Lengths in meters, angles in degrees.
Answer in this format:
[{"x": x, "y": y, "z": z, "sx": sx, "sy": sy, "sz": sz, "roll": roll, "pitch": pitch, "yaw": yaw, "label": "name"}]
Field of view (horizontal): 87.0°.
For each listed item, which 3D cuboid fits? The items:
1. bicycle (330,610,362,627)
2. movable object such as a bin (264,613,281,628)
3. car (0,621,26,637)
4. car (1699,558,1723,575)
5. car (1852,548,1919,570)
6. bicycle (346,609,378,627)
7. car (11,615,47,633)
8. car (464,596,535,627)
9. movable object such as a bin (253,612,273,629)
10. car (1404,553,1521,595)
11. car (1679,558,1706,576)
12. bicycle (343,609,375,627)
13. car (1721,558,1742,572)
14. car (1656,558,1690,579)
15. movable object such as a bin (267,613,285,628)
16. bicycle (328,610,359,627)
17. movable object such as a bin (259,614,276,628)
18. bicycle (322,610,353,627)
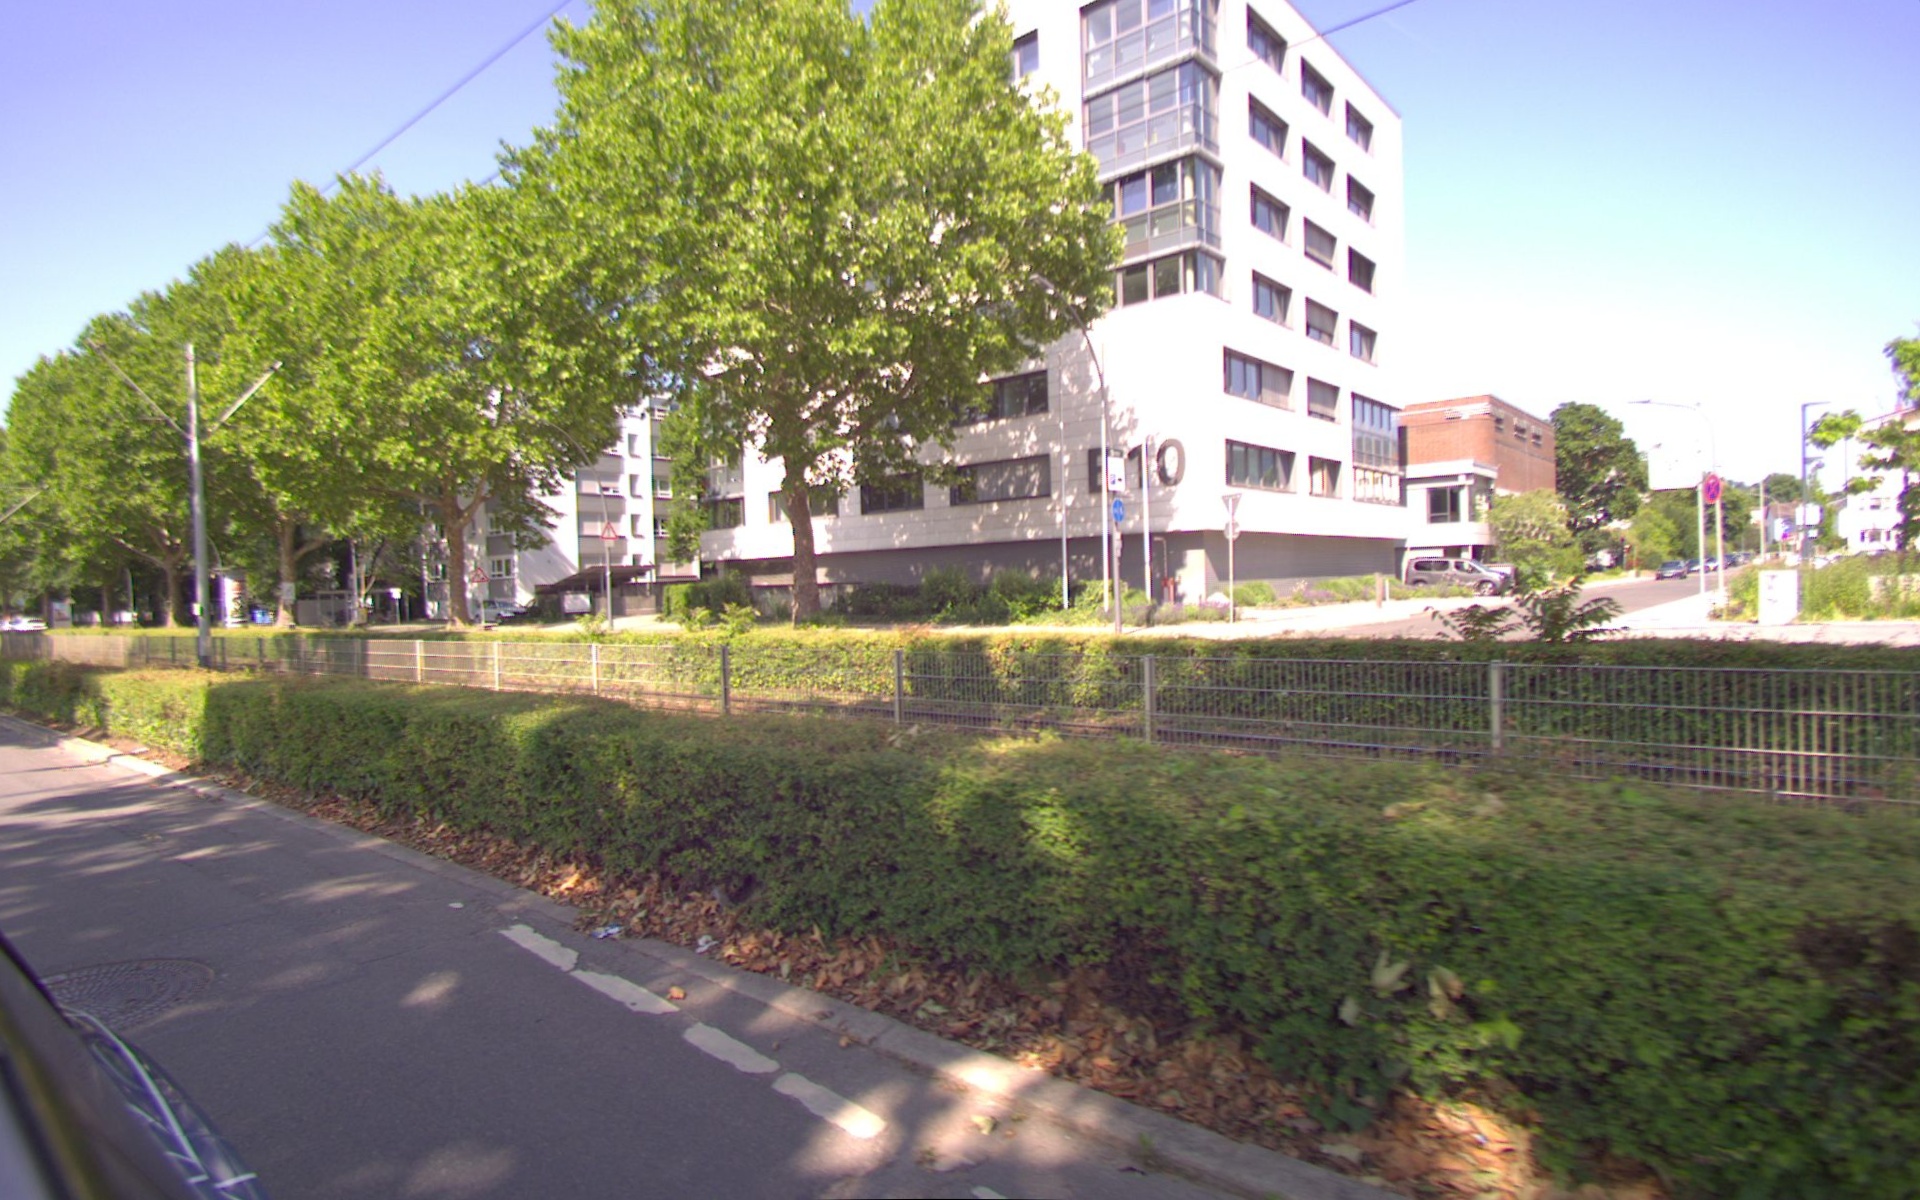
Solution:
[{"x": -41.934, "y": 1.265, "z": 69.121, "sx": 0.421, "sy": 1.111, "sz": 1.749, "roll": -2, "pitch": 1, "yaw": 38, "label": "bicycle"}, {"x": -50.671, "y": 1.533, "z": 74.550, "sx": 0.545, "sy": 1.044, "sz": 0.887, "roll": -2, "pitch": 1, "yaw": 39, "label": "movable object such as a bin"}, {"x": -93.973, "y": 2.840, "z": 100.070, "sx": 3.996, "sy": 1.464, "sz": 1.834, "roll": -2, "pitch": 1, "yaw": 39, "label": "car"}, {"x": 75.811, "y": -3.393, "z": 102.135, "sx": 1.732, "sy": 1.546, "sz": 3.804, "roll": -1, "pitch": 1, "yaw": 41, "label": "car"}, {"x": 56.708, "y": -2.513, "z": 61.980, "sx": 3.029, "sy": 1.204, "sz": 1.353, "roll": -1, "pitch": 1, "yaw": 41, "label": "car"}, {"x": -40.004, "y": 1.218, "z": 67.725, "sx": 0.421, "sy": 1.111, "sz": 1.749, "roll": -2, "pitch": 1, "yaw": 38, "label": "bicycle"}, {"x": -82.119, "y": 2.103, "z": 89.252, "sx": 3.908, "sy": 1.502, "sz": 1.797, "roll": -2, "pitch": -1, "yaw": 39, "label": "car"}, {"x": -25.245, "y": 0.653, "z": 55.402, "sx": 4.344, "sy": 1.561, "sz": 1.725, "roll": -2, "pitch": 1, "yaw": 39, "label": "car"}, {"x": -52.250, "y": 1.516, "z": 75.851, "sx": 1.098, "sy": 1.197, "sz": 0.887, "roll": -2, "pitch": 1, "yaw": 39, "label": "movable object such as a bin"}, {"x": 23.990, "y": -1.240, "z": 48.403, "sx": 4.615, "sy": 1.828, "sz": 1.973, "roll": -1, "pitch": 1, "yaw": 41, "label": "car"}, {"x": 69.319, "y": -3.116, "z": 95.723, "sx": 1.732, "sy": 1.546, "sz": 3.848, "roll": -1, "pitch": 1, "yaw": 41, "label": "car"}, {"x": -40.394, "y": 1.227, "z": 68.034, "sx": 0.421, "sy": 1.111, "sz": 1.749, "roll": -2, "pitch": 1, "yaw": 38, "label": "bicycle"}, {"x": 93.165, "y": -4.188, "z": 122.176, "sx": 1.732, "sy": 1.546, "sz": 3.804, "roll": -1, "pitch": 1, "yaw": 41, "label": "car"}, {"x": 54.685, "y": -2.425, "z": 77.612, "sx": 1.732, "sy": 1.546, "sz": 3.747, "roll": -1, "pitch": 1, "yaw": 41, "label": "car"}, {"x": -49.856, "y": 1.515, "z": 73.778, "sx": 0.545, "sy": 1.044, "sz": 0.887, "roll": -2, "pitch": 1, "yaw": 39, "label": "movable object such as a bin"}, {"x": -42.269, "y": 1.272, "z": 69.440, "sx": 0.421, "sy": 1.111, "sz": 1.749, "roll": -2, "pitch": 1, "yaw": 38, "label": "bicycle"}, {"x": -51.559, "y": 1.553, "z": 75.315, "sx": 0.545, "sy": 1.044, "sz": 0.887, "roll": -2, "pitch": 1, "yaw": 39, "label": "movable object such as a bin"}, {"x": -43.106, "y": 1.292, "z": 70.131, "sx": 0.421, "sy": 1.111, "sz": 1.749, "roll": -2, "pitch": 1, "yaw": 38, "label": "bicycle"}]
